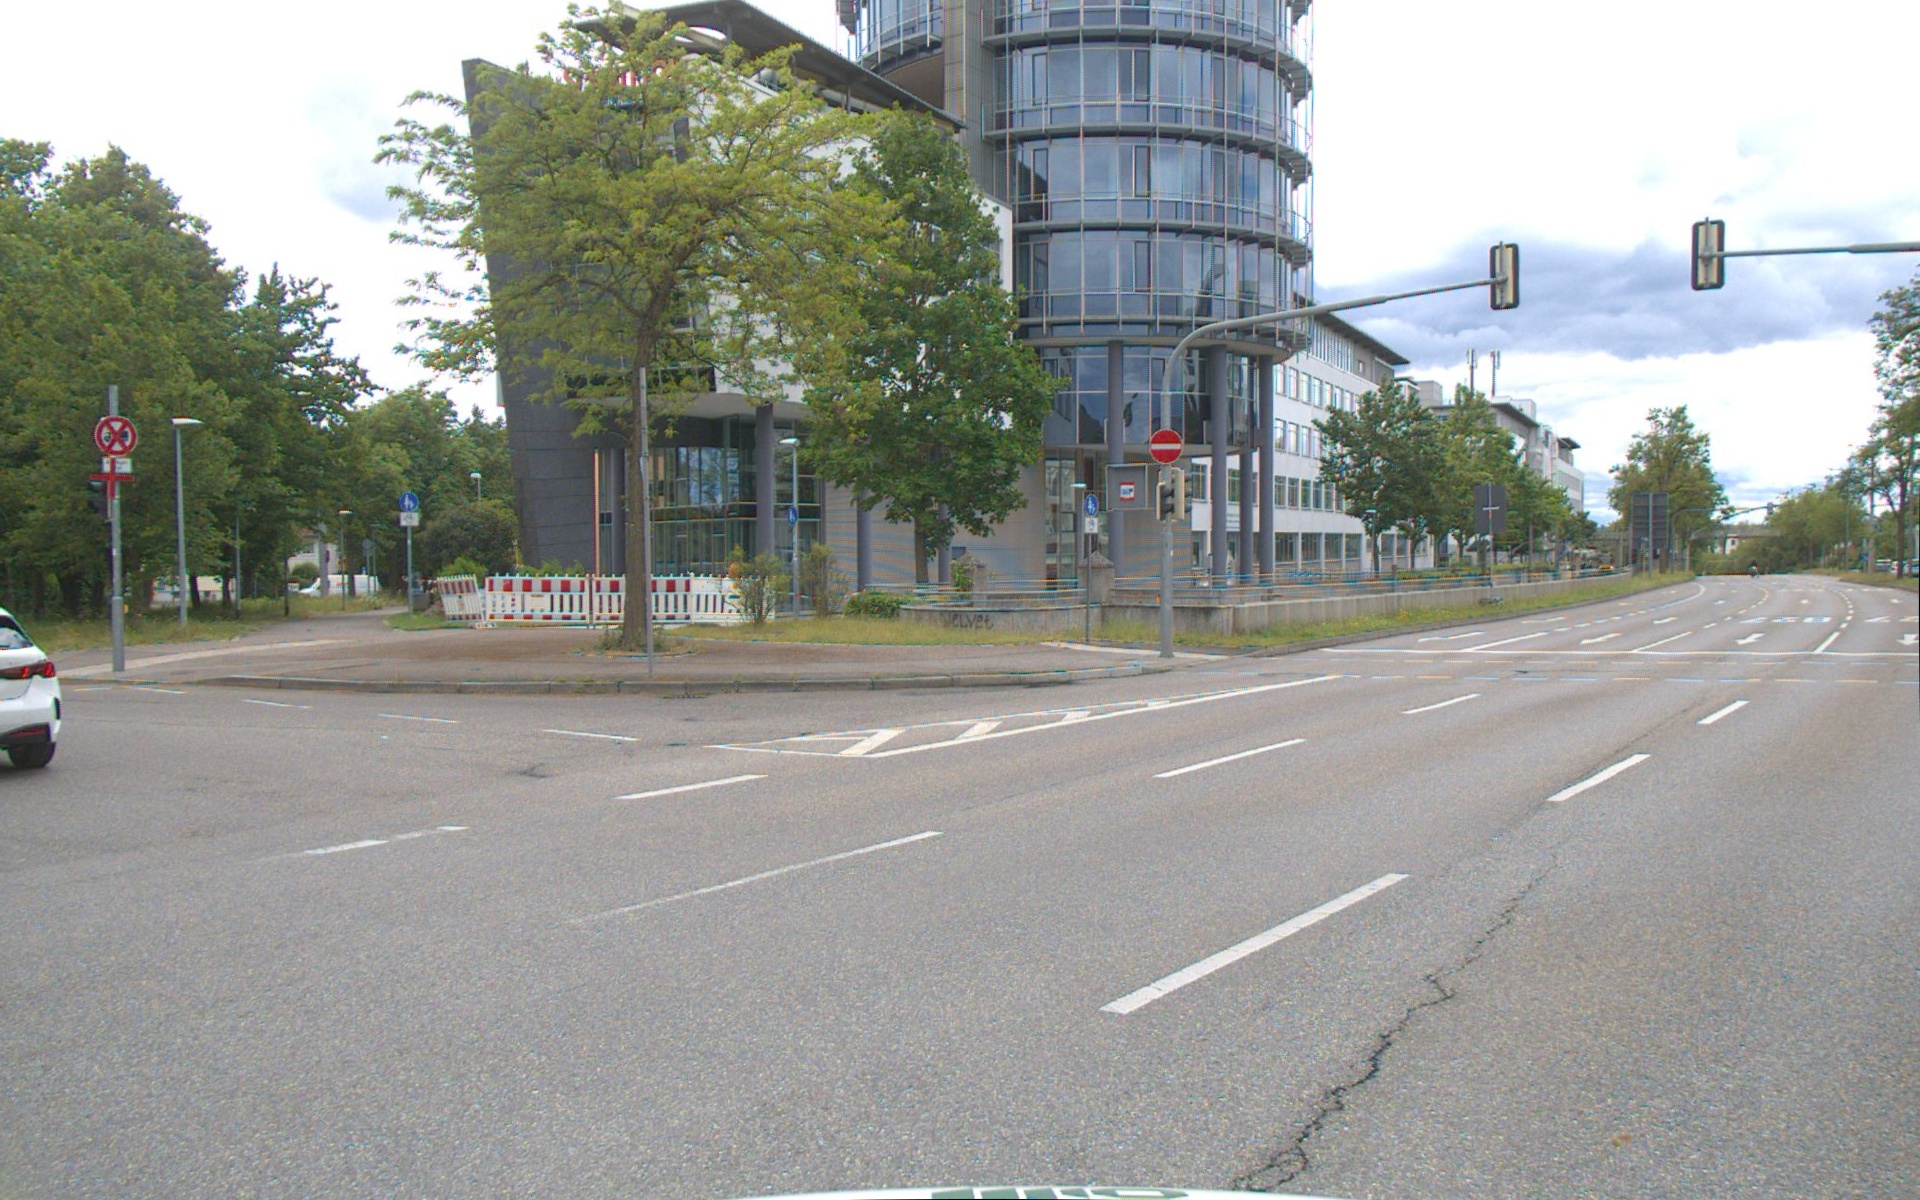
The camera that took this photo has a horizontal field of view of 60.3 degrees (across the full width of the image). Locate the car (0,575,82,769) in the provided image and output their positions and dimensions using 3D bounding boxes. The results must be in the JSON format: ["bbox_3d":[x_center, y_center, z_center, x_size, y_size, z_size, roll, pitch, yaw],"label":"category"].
[{"bbox_3d":[-9.365,0.589,14.337,4.131,1.544,1.791,-1,0,42],"label":"car"}]

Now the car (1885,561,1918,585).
[{"bbox_3d":[72.409,-2.040,127.228,1.955,1.679,3.994,2,1,28],"label":"car"}]

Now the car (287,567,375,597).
[{"bbox_3d":[-54.707,-1.554,143.931,6.923,2.566,2.053,0,2,-43],"label":"car"}]

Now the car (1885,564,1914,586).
[{"bbox_3d":[79.316,-2.123,139.698,1.955,1.679,3.995,2,1,28],"label":"car"}]
